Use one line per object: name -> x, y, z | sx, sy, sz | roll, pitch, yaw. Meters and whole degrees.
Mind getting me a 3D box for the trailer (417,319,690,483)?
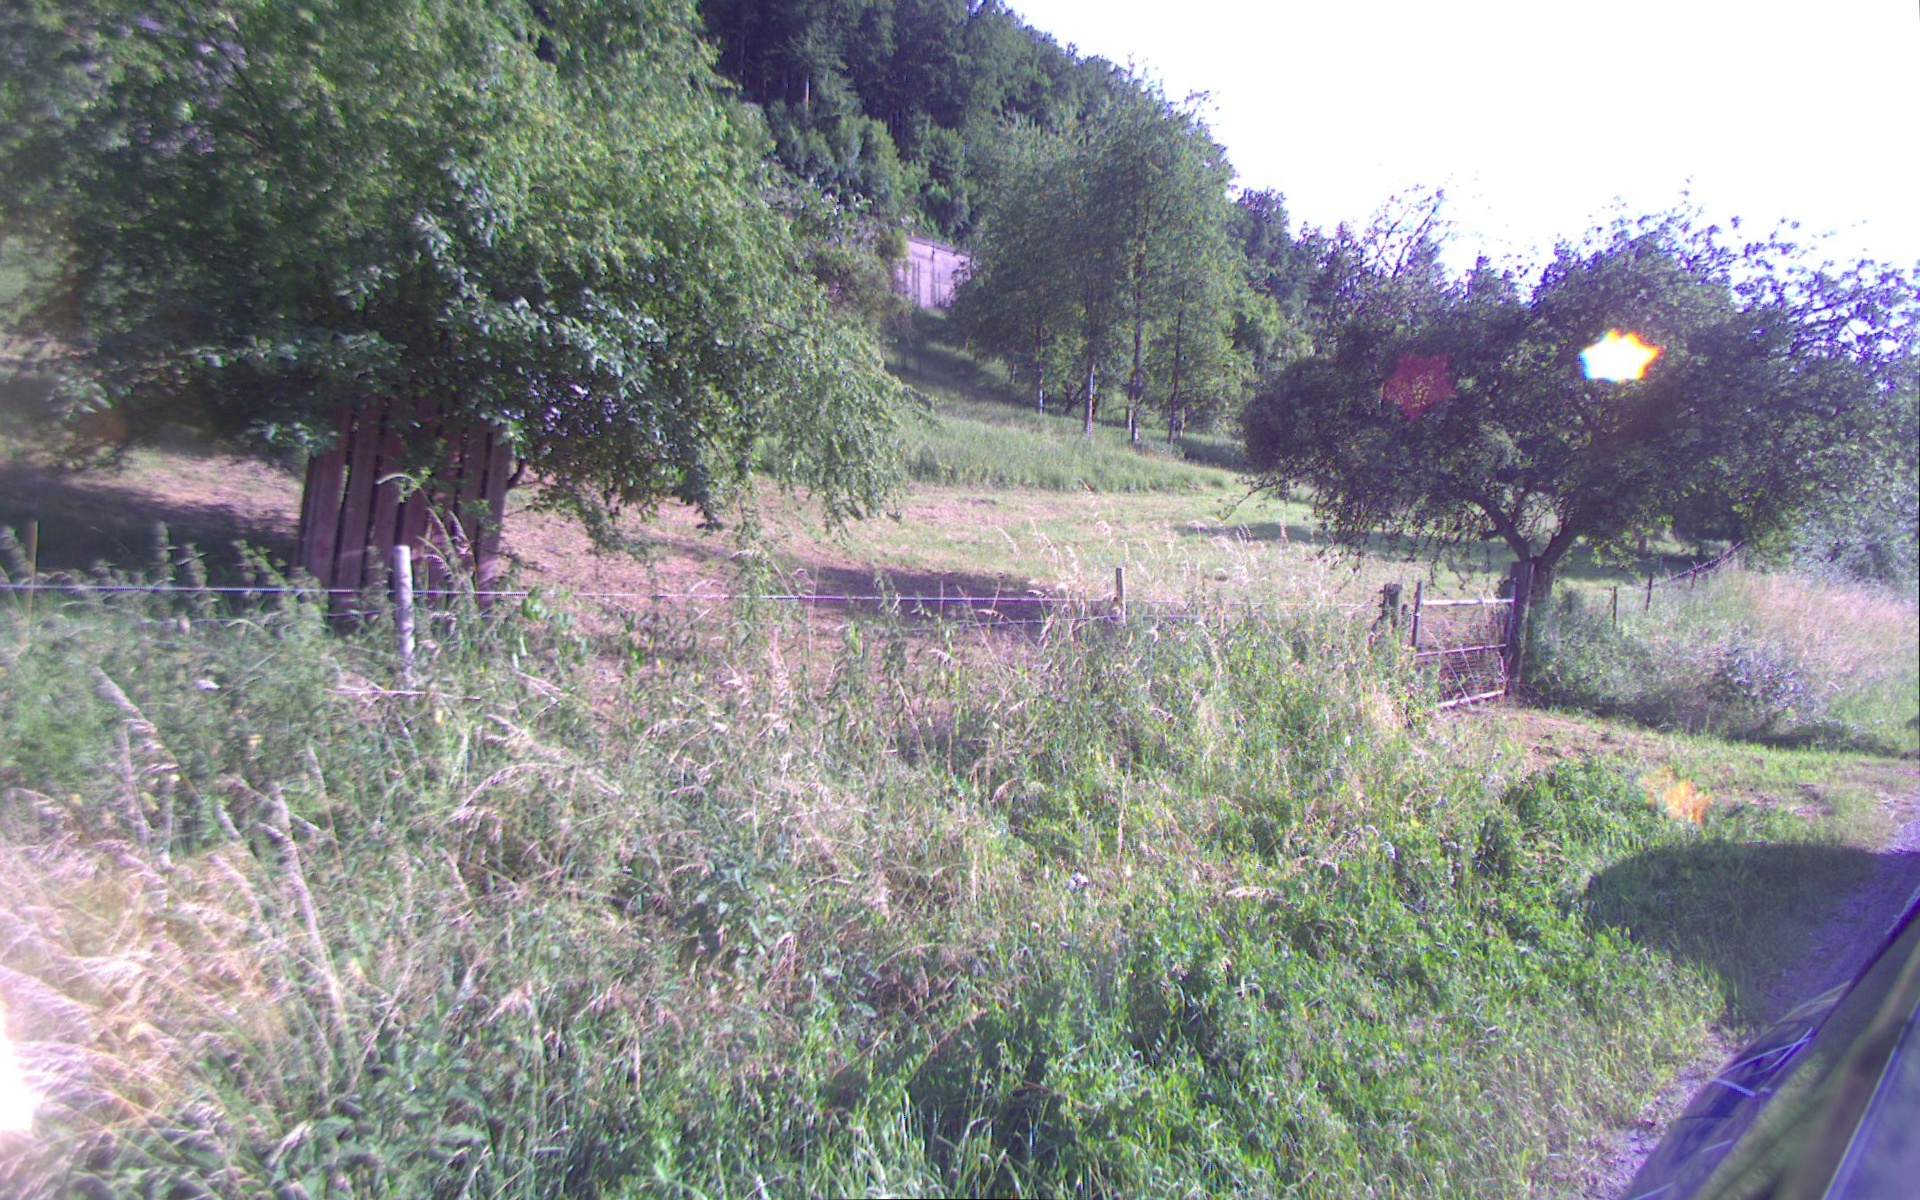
trailer -> -9.031, -4.278, 22.845 | 5.159, 2.590, 2.155 | 4, 0, -44
